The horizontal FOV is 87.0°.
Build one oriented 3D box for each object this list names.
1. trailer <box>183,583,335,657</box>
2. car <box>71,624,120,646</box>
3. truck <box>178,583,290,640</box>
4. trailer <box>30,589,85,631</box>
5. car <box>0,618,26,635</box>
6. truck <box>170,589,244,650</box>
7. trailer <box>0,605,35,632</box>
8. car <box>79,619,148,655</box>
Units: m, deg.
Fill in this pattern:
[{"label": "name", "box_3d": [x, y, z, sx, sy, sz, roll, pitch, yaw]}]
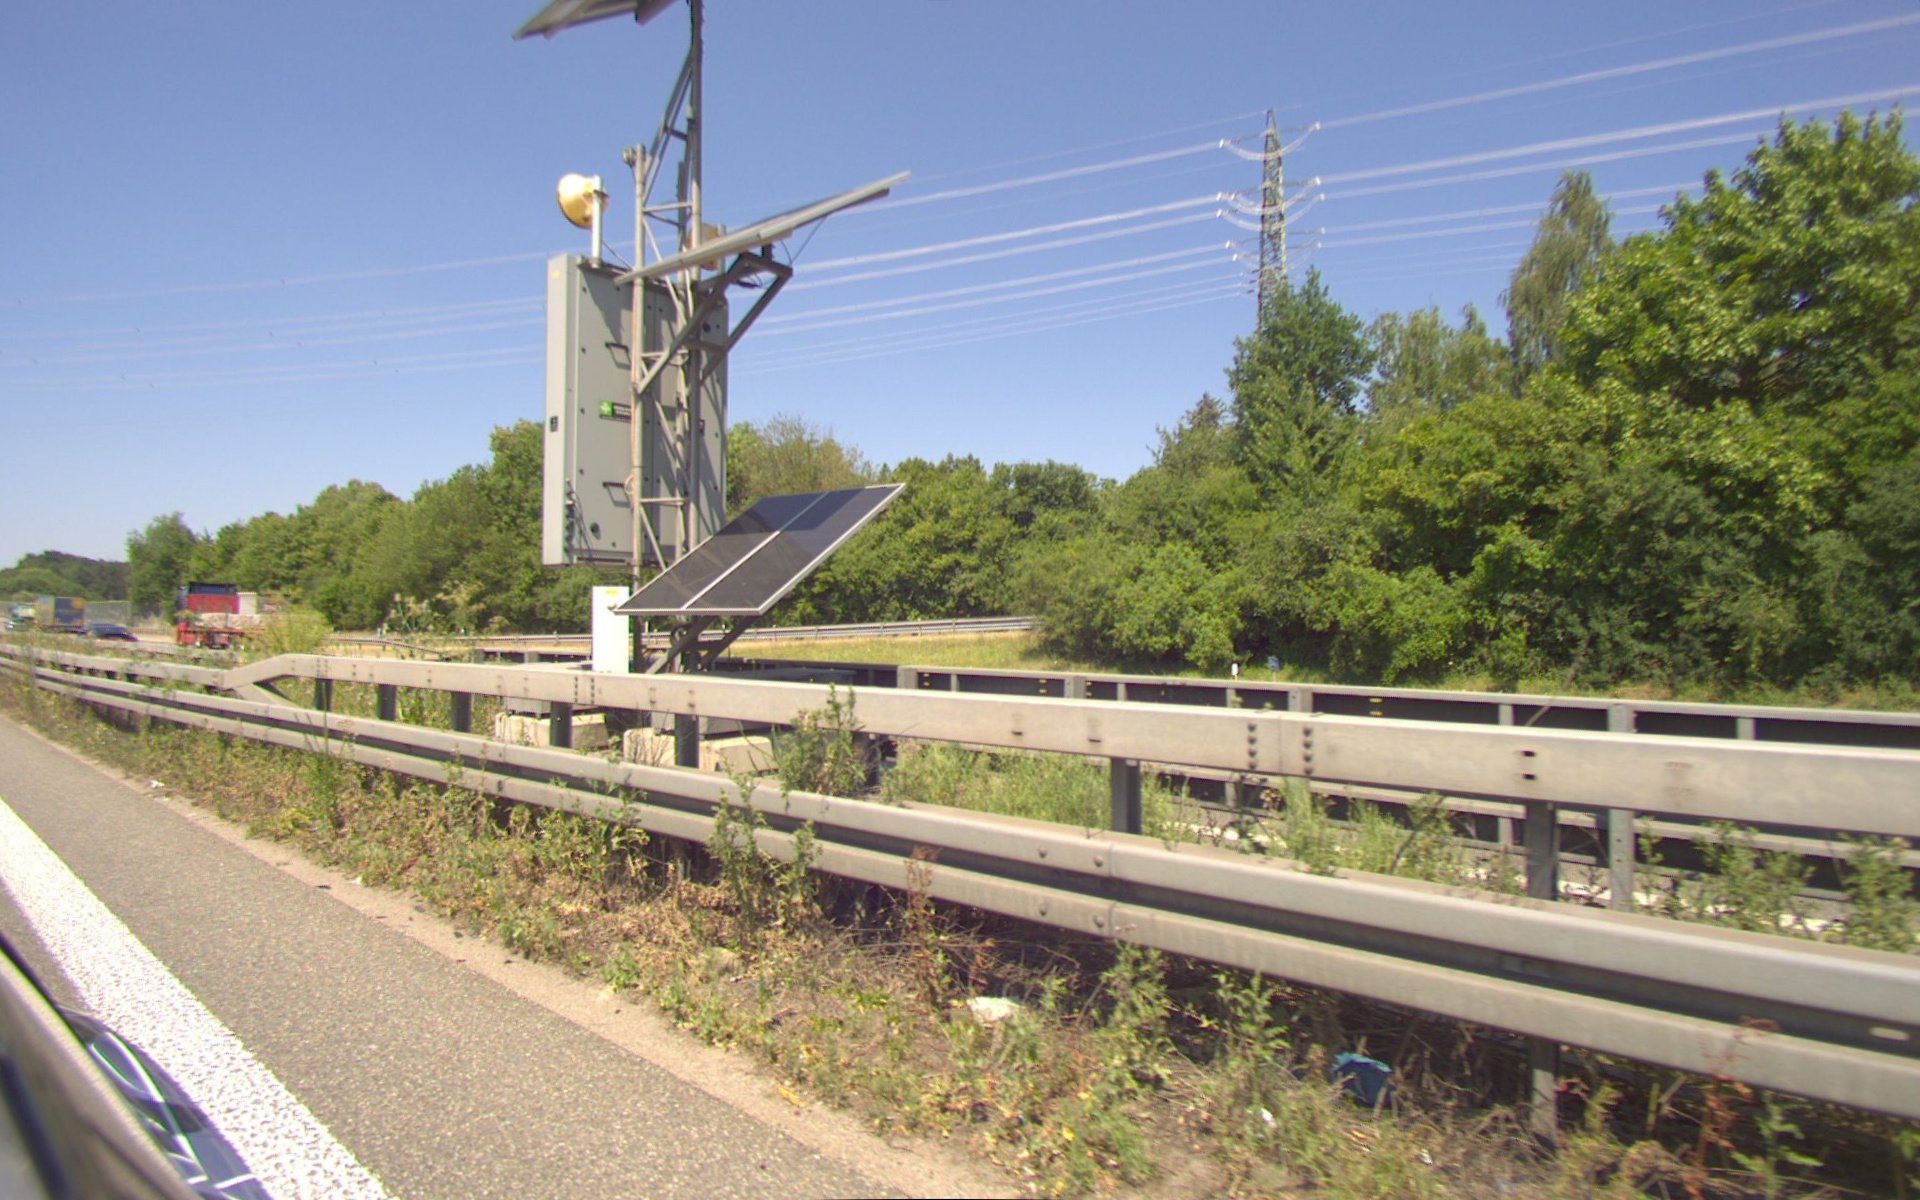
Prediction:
[{"label": "trailer", "box_3d": [-38.630, 1.088, 55.326, 16.015, 3.586, 2.965, -1, -2, 41]}, {"label": "car", "box_3d": [-57.115, 2.296, 66.861, 4.919, 1.344, 1.751, -1, -3, 41]}, {"label": "truck", "box_3d": [-63.916, 1.117, 88.916, 14.503, 4.374, 2.972, -3, -3, 33]}, {"label": "trailer", "box_3d": [-97.645, 1.136, 109.334, 13.813, 4.374, 3.140, -1, -2, 43]}, {"label": "car", "box_3d": [-94.165, 2.613, 100.346, 3.881, 1.542, 1.763, -1, -4, 41]}, {"label": "truck", "box_3d": [-45.815, 1.194, 61.606, 3.116, 3.586, 2.965, -1, -2, 41]}, {"label": "trailer", "box_3d": [-124.627, 2.443, 133.454, 9.706, 3.326, 2.883, -1, -2, 42]}, {"label": "car", "box_3d": [-37.377, 1.616, 44.638, 3.998, 1.538, 1.706, -1, -3, 41]}]
